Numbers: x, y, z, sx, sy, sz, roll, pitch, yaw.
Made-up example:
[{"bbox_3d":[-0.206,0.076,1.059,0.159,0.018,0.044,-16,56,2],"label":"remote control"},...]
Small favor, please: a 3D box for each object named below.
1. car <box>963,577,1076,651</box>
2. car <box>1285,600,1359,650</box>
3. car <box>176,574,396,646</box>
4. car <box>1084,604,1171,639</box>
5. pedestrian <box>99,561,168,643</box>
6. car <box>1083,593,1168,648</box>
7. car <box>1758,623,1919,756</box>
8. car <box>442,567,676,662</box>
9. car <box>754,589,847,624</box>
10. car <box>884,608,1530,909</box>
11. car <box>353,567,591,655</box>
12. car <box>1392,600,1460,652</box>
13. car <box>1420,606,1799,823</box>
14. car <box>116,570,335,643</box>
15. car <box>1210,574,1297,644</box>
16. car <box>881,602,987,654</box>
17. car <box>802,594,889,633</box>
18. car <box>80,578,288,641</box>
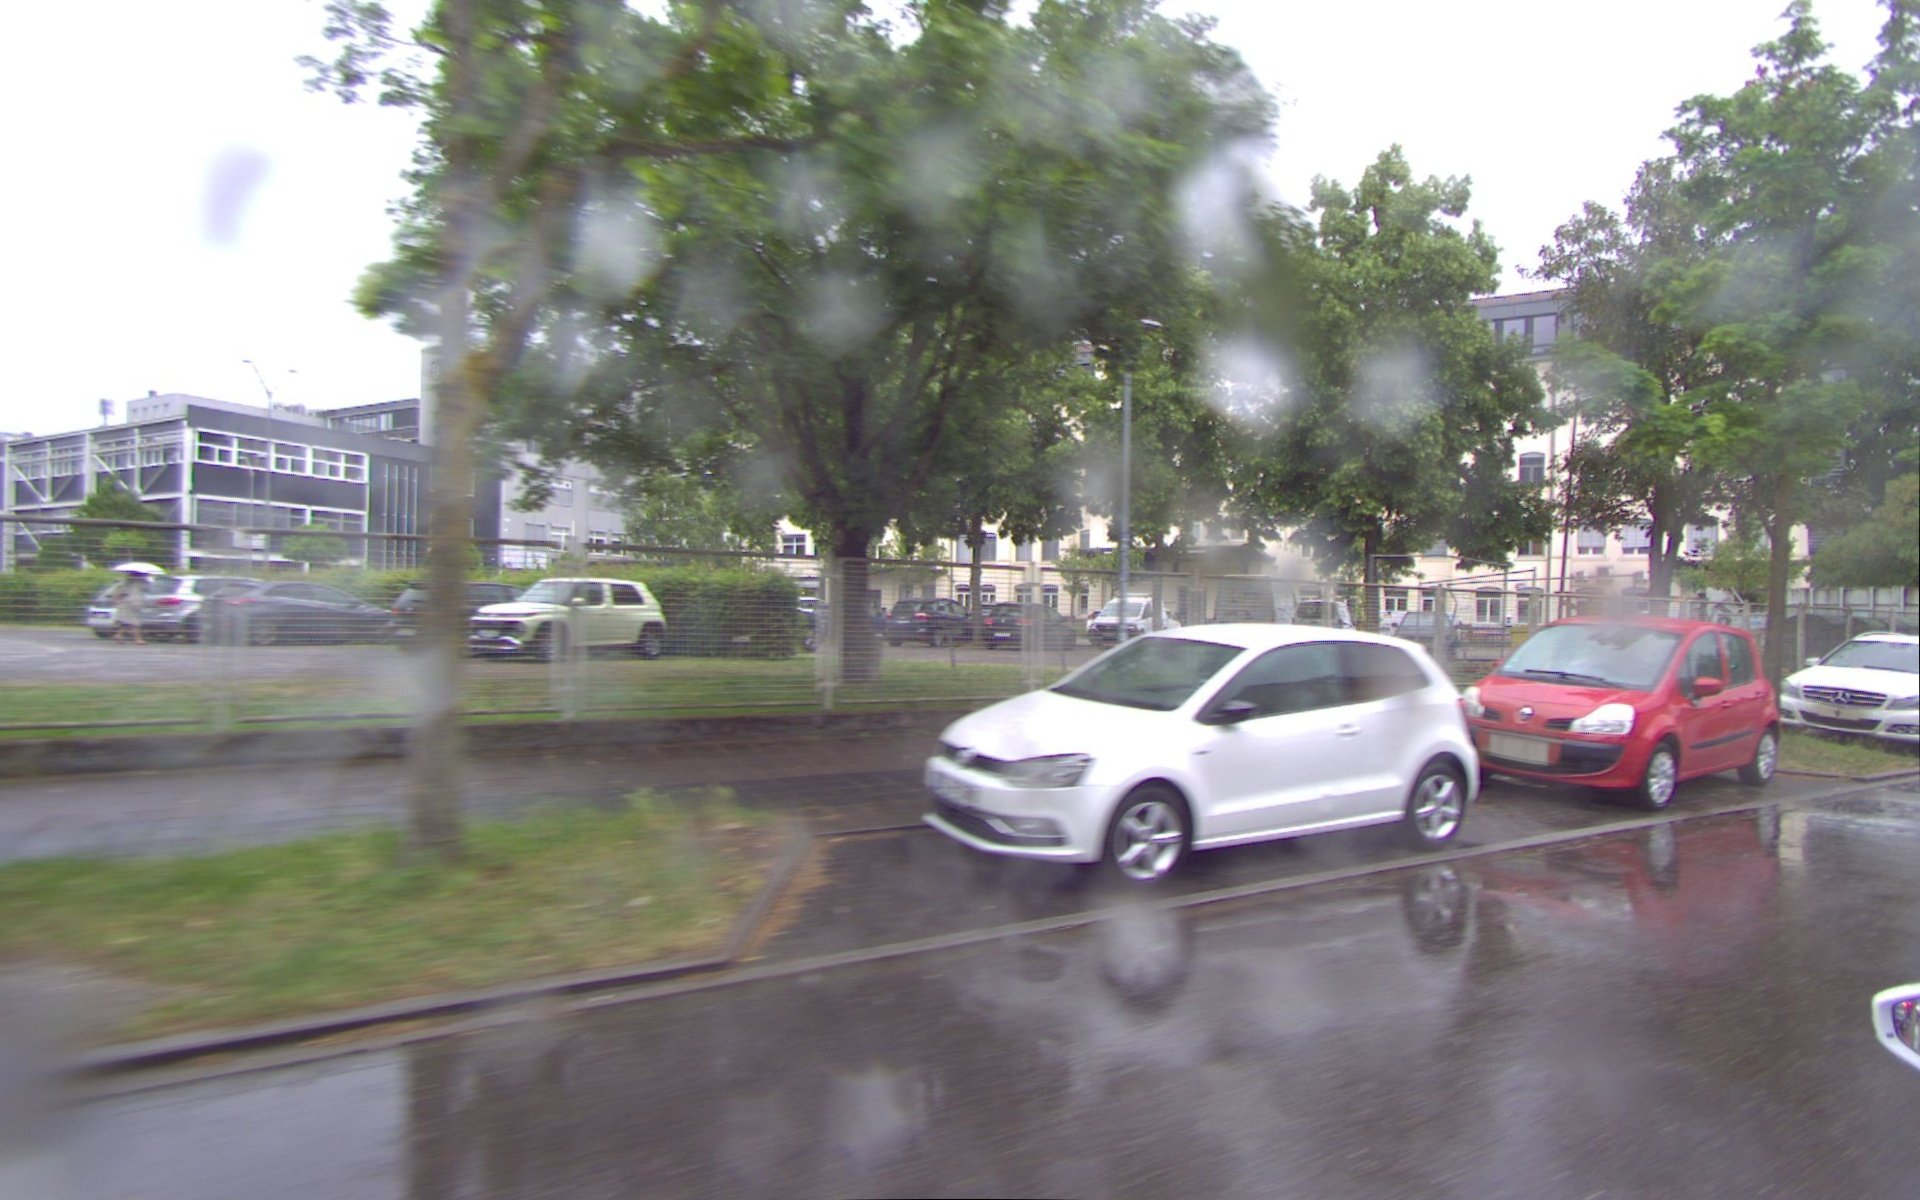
[{"bbox_3d":[1.875,0.420,30.401,1.963,2.040,3.995,2,0,27],"label":"car"},{"bbox_3d":[11.632,0.790,32.190,1.679,1.453,3.644,2,0,28],"label":"car"},{"bbox_3d":[-15.589,0.246,23.475,1.828,1.516,3.915,1,-1,22],"label":"car"},{"bbox_3d":[7.960,1.001,47.744,3.919,1.567,2.001,0,0,14],"label":"car"},{"bbox_3d":[-17.647,0.053,21.467,0.988,1.690,0.720,2,-1,-30],"label":"pedestrian"},{"bbox_3d":[5.996,0.734,36.033,1.899,1.809,3.996,2,0,26],"label":"car"},{"bbox_3d":[13.162,1.167,13.966,4.546,1.549,1.759,2,0,-31],"label":"car"},{"bbox_3d":[-7.524,0.303,19.276,1.816,1.593,3.998,2,-1,24],"label":"car"},{"bbox_3d":[-6.814,0.299,43.270,1.740,1.394,3.991,2,0,31],"label":"car"},{"bbox_3d":[1.721,0.865,6.725,4.120,1.480,1.654,2,0,-27],"label":"car"},{"bbox_3d":[-9.603,0.258,20.144,1.961,1.578,4.000,1,-2,21],"label":"car"},{"bbox_3d":[14.439,0.795,31.034,1.679,1.453,3.644,2,0,28],"label":"car"},{"bbox_3d":[6.250,0.932,9.495,4.161,1.619,1.613,2,0,-36],"label":"car"},{"bbox_3d":[-17.693,0.188,24.405,1.895,1.621,3.861,1,-1,25],"label":"car"},{"bbox_3d":[9.788,0.298,33.279,1.963,2.150,3.994,2,0,28],"label":"car"},{"bbox_3d":[-0.784,0.850,32.528,1.963,1.529,3.544,2,1,27],"label":"car"},{"bbox_3d":[-4.701,0.565,41.676,1.736,1.489,3.772,2,0,28],"label":"car"},{"bbox_3d":[-19.649,0.261,25.597,1.731,1.470,3.812,1,-1,27],"label":"car"}]
